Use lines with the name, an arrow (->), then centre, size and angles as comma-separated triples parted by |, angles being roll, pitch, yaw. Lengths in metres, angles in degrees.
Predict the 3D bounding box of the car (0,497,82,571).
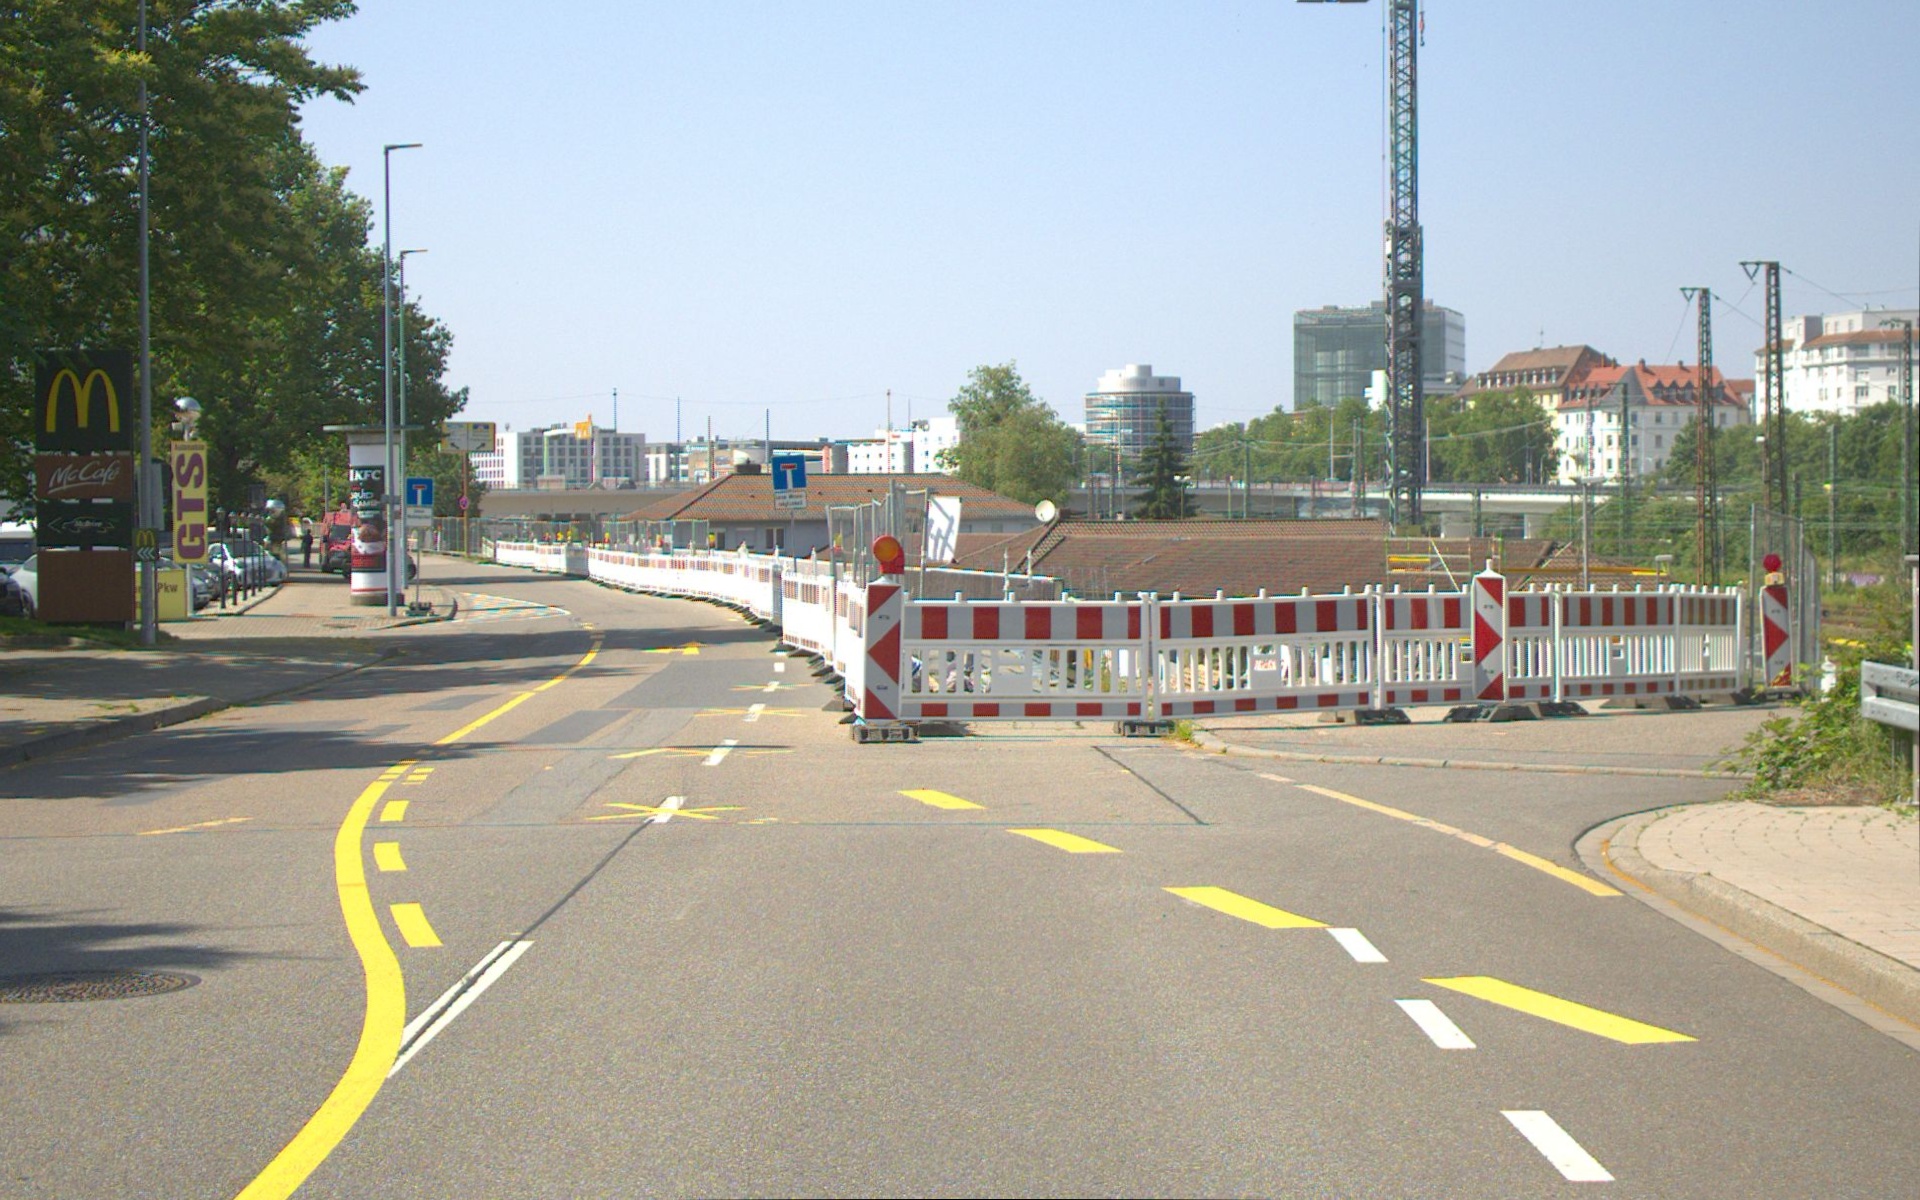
car -> -25.356, -1.766, 92.444 | 1.823, 1.923, 3.998 | -1, 1, -40

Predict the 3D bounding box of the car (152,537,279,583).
car -> -23.432, -1.259, 108.168 | 3.680, 1.416, 1.570 | 0, 1, 25
